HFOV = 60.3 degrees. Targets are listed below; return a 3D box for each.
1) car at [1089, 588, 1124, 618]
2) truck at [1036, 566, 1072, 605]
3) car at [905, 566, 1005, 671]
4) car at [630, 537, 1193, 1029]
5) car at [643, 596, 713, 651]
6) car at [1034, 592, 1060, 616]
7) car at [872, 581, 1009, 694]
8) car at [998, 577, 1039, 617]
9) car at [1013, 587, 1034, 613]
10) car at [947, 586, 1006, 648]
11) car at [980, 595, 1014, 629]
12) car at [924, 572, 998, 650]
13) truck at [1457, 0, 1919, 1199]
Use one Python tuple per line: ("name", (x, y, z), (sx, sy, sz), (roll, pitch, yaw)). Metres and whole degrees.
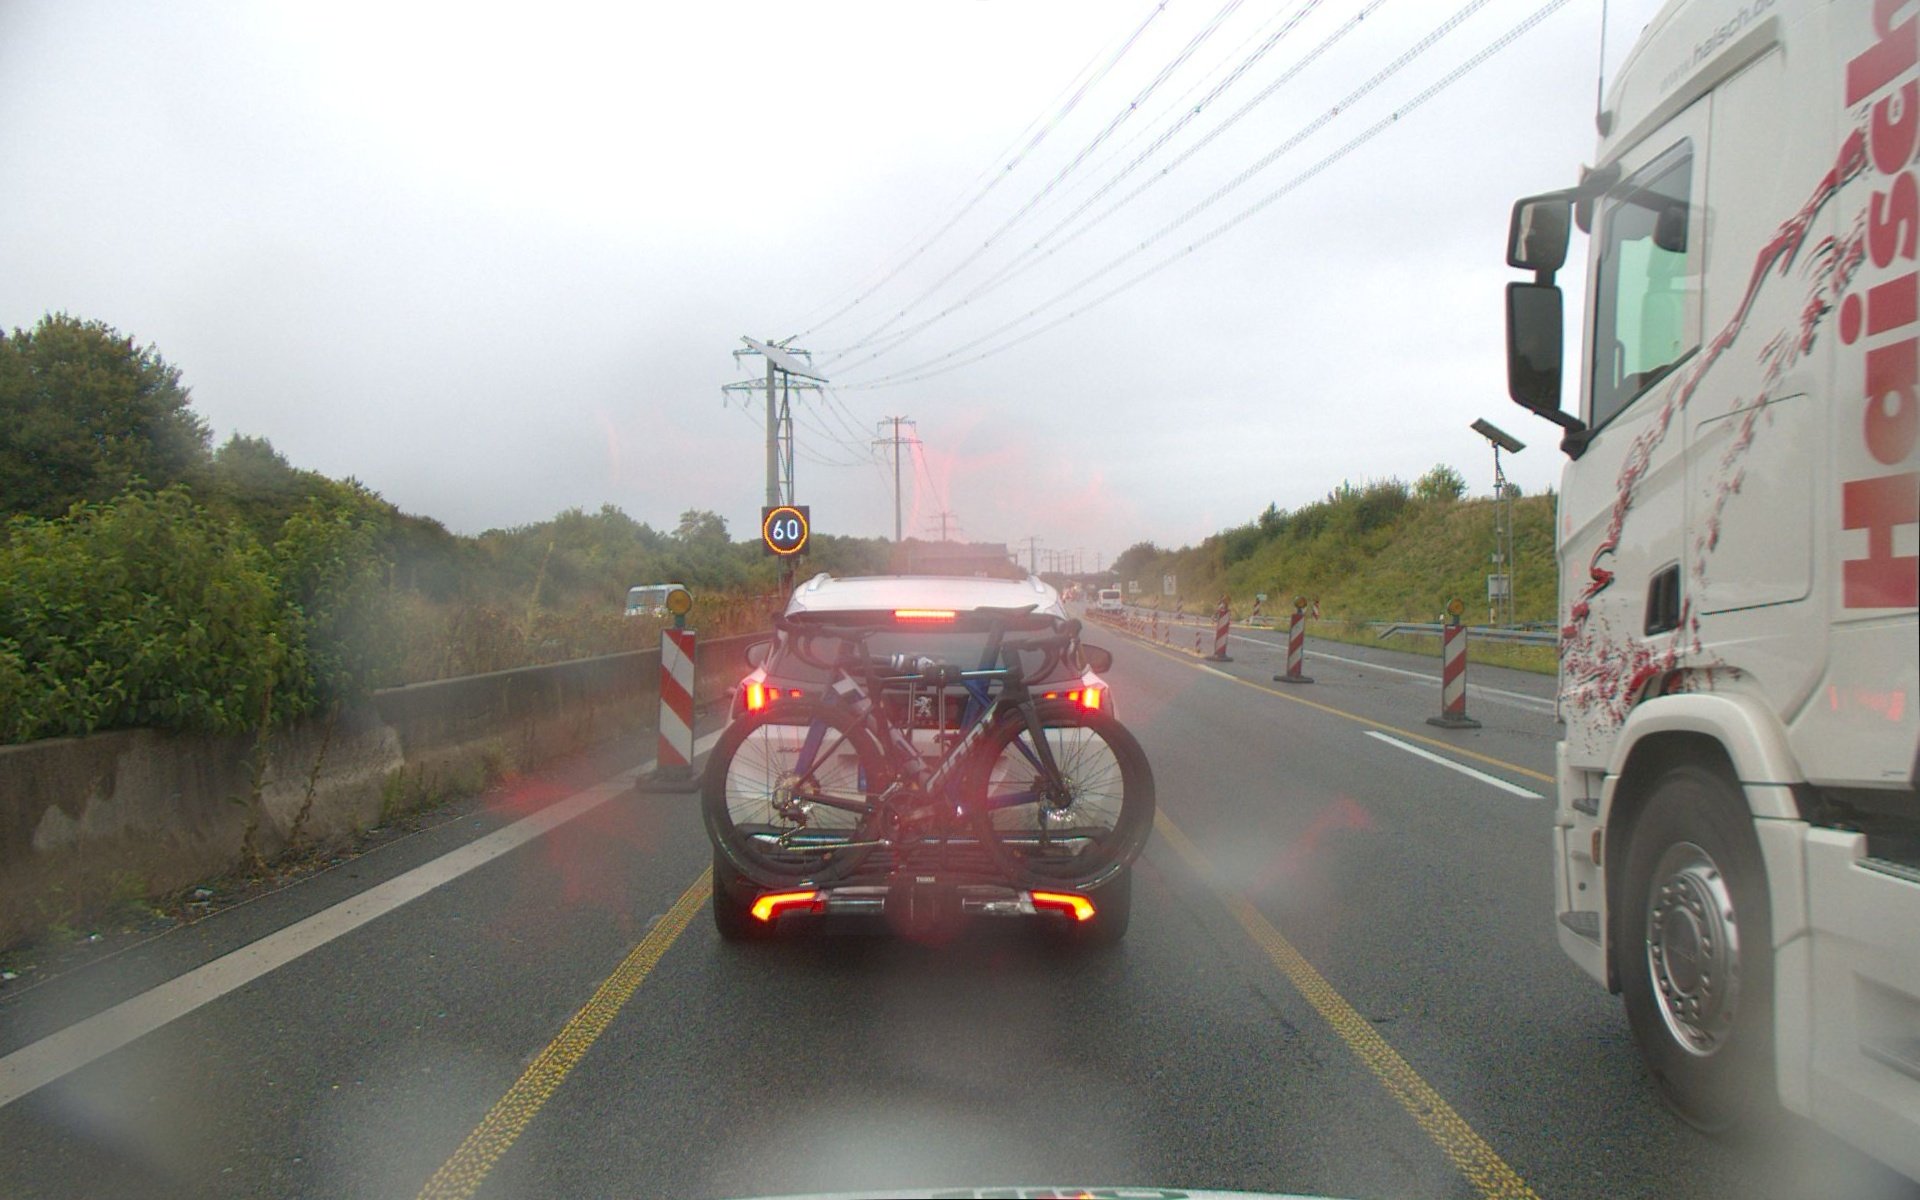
("car", (10.267, 0.174, 116.066), (1.953, 2.049, 3.999), (-1, 0, -1))
("truck", (11.086, -1.772, 196.161), (3.654, 3.887, 11.875), (2, 3, 1))
("car", (-0.120, 0.359, 34.994), (1.953, 2.049, 3.999), (-1, 0, -1))
("car", (-0.107, 0.606, 7.879), (1.888, 1.639, 4.596), (1, 0, 1))
("car", (-13.742, 1.109, 80.962), (2.193, 2.483, 5.885), (-1, 1, 2))
("car", (7.642, 0.388, 145.854), (1.953, 2.049, 3.999), (1, 0, -1))
("car", (-0.305, 0.522, 25.670), (1.953, 1.611, 3.999), (0, 0, -1))
("car", (3.161, -0.121, 90.464), (1.953, 2.049, 3.998), (-1, -1, -2))
("car", (5.095, -0.020, 132.578), (1.619, 2.049, 4.002), (0, 0, 3))
("car", (0.541, 0.595, 57.602), (1.953, 2.049, 3.999), (1, 0, -1))
("car", (2.294, 0.734, 103.919), (1.953, 2.049, 3.999), (1, 0, -1))
("car", (-0.002, 0.287, 45.923), (1.953, 2.049, 3.999), (-1, 0, -1))
("truck", (3.271, -0.346, 4.416), (2.591, 3.959, 4.029), (1, -1, -1))
